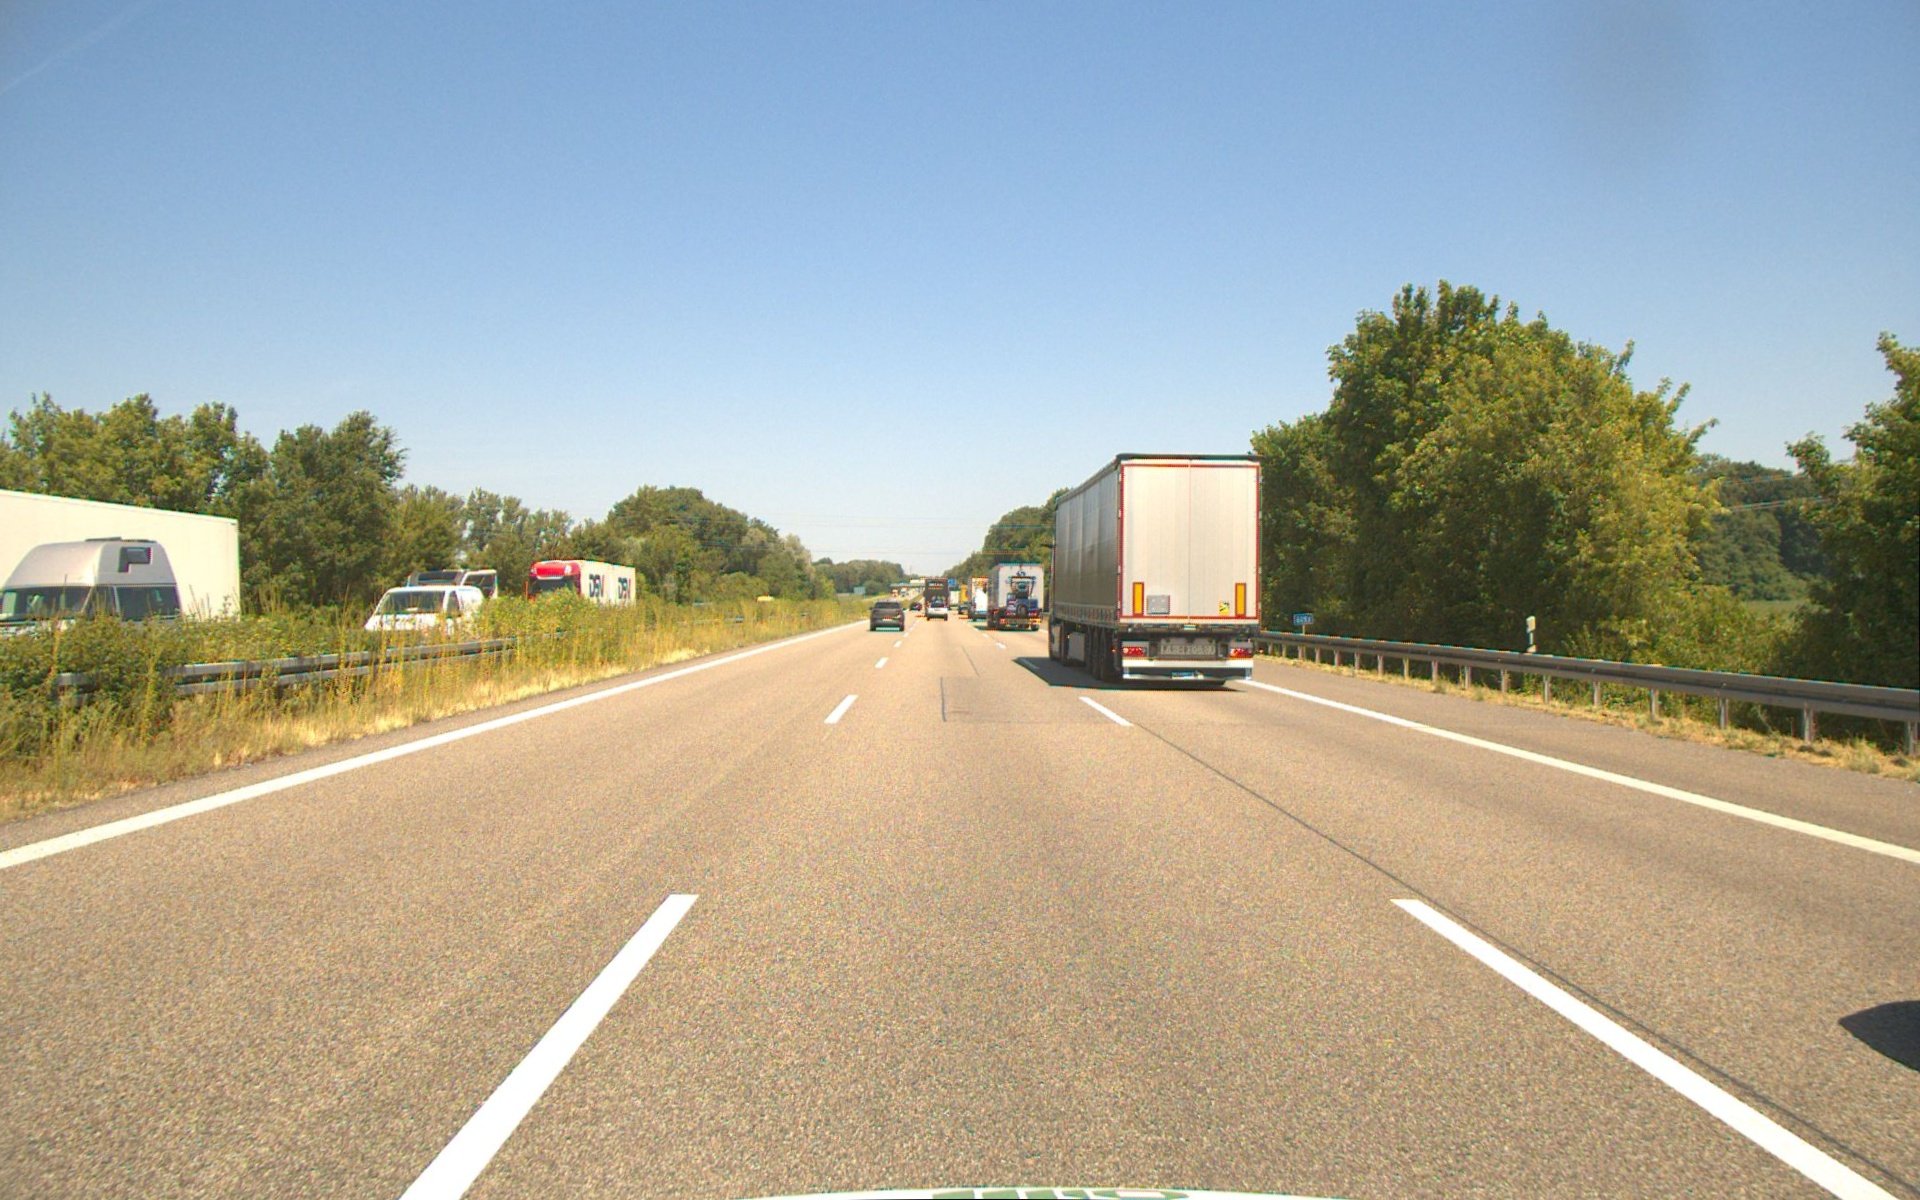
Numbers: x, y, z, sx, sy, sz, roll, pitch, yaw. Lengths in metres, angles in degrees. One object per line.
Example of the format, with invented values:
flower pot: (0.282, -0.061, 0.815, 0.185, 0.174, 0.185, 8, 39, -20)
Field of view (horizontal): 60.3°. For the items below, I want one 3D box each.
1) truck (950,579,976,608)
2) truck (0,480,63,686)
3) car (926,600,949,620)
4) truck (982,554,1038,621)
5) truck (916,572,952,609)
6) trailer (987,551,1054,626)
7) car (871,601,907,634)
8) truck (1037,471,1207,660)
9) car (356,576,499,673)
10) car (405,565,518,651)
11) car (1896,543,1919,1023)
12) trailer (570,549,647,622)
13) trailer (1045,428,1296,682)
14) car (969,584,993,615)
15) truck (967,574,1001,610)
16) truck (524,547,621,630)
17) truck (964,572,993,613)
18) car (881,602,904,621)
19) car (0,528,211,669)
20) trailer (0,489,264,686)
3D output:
truck: (0.399, -0.932, 222.098, 3.417, 3.790, 7.109, 1, 1, 0)
truck: (-20.905, -0.353, 32.561, 3.009, 4.183, 6.524, 1, 1, -1)
car: (-1.891, 0.827, 140.678, 1.862, 1.557, 4.083, 1, 1, -1)
truck: (3.062, -0.837, 104.096, 2.995, 3.946, 10.032, 1, 1, -1)
truck: (-2.774, -1.082, 178.773, 3.592, 3.790, 7.109, 1, 1, 0)
trailer: (3.336, -0.687, 94.167, 3.059, 3.995, 9.933, 1, 1, -2)
car: (-3.688, 0.909, 86.556, 1.723, 1.557, 4.285, 1, 1, -1)
truck: (3.855, -0.762, 41.164, 3.394, 4.250, 6.842, 1, -1, -1)
car: (-12.591, 0.544, 39.466, 1.886, 2.157, 5.276, 0, 0, -2)
car: (-17.725, 0.277, 59.149, 2.282, 2.871, 6.604, -1, 0, -3)
car: (4.233, 0.650, 3.803, 1.807, 1.657, 4.134, 0, 1, -1)
trailer: (-21.966, -0.952, 103.829, 2.985, 4.401, 9.031, 0, 1, -1)
trailer: (3.930, -0.772, 34.923, 3.365, 4.254, 13.630, 1, 0, -1)
car: (1.719, -0.070, 136.241, 1.869, 2.467, 4.285, 1, 1, -1)
truck: (2.578, -0.898, 179.068, 3.592, 3.790, 7.109, 1, 1, 0)
truck: (-21.887, -0.715, 94.020, 3.008, 4.385, 10.626, 1, 1, 0)
truck: (1.788, -0.757, 161.098, 2.735, 3.790, 7.109, 1, 1, 0)
car: (-5.980, 1.044, 146.926, 1.862, 1.557, 4.083, 1, 1, -1)
car: (-16.288, -0.025, 31.046, 2.165, 2.404, 5.296, -1, 0, -2)
trailer: (-21.048, -0.369, 40.515, 2.985, 4.109, 12.232, 0, 1, -1)
